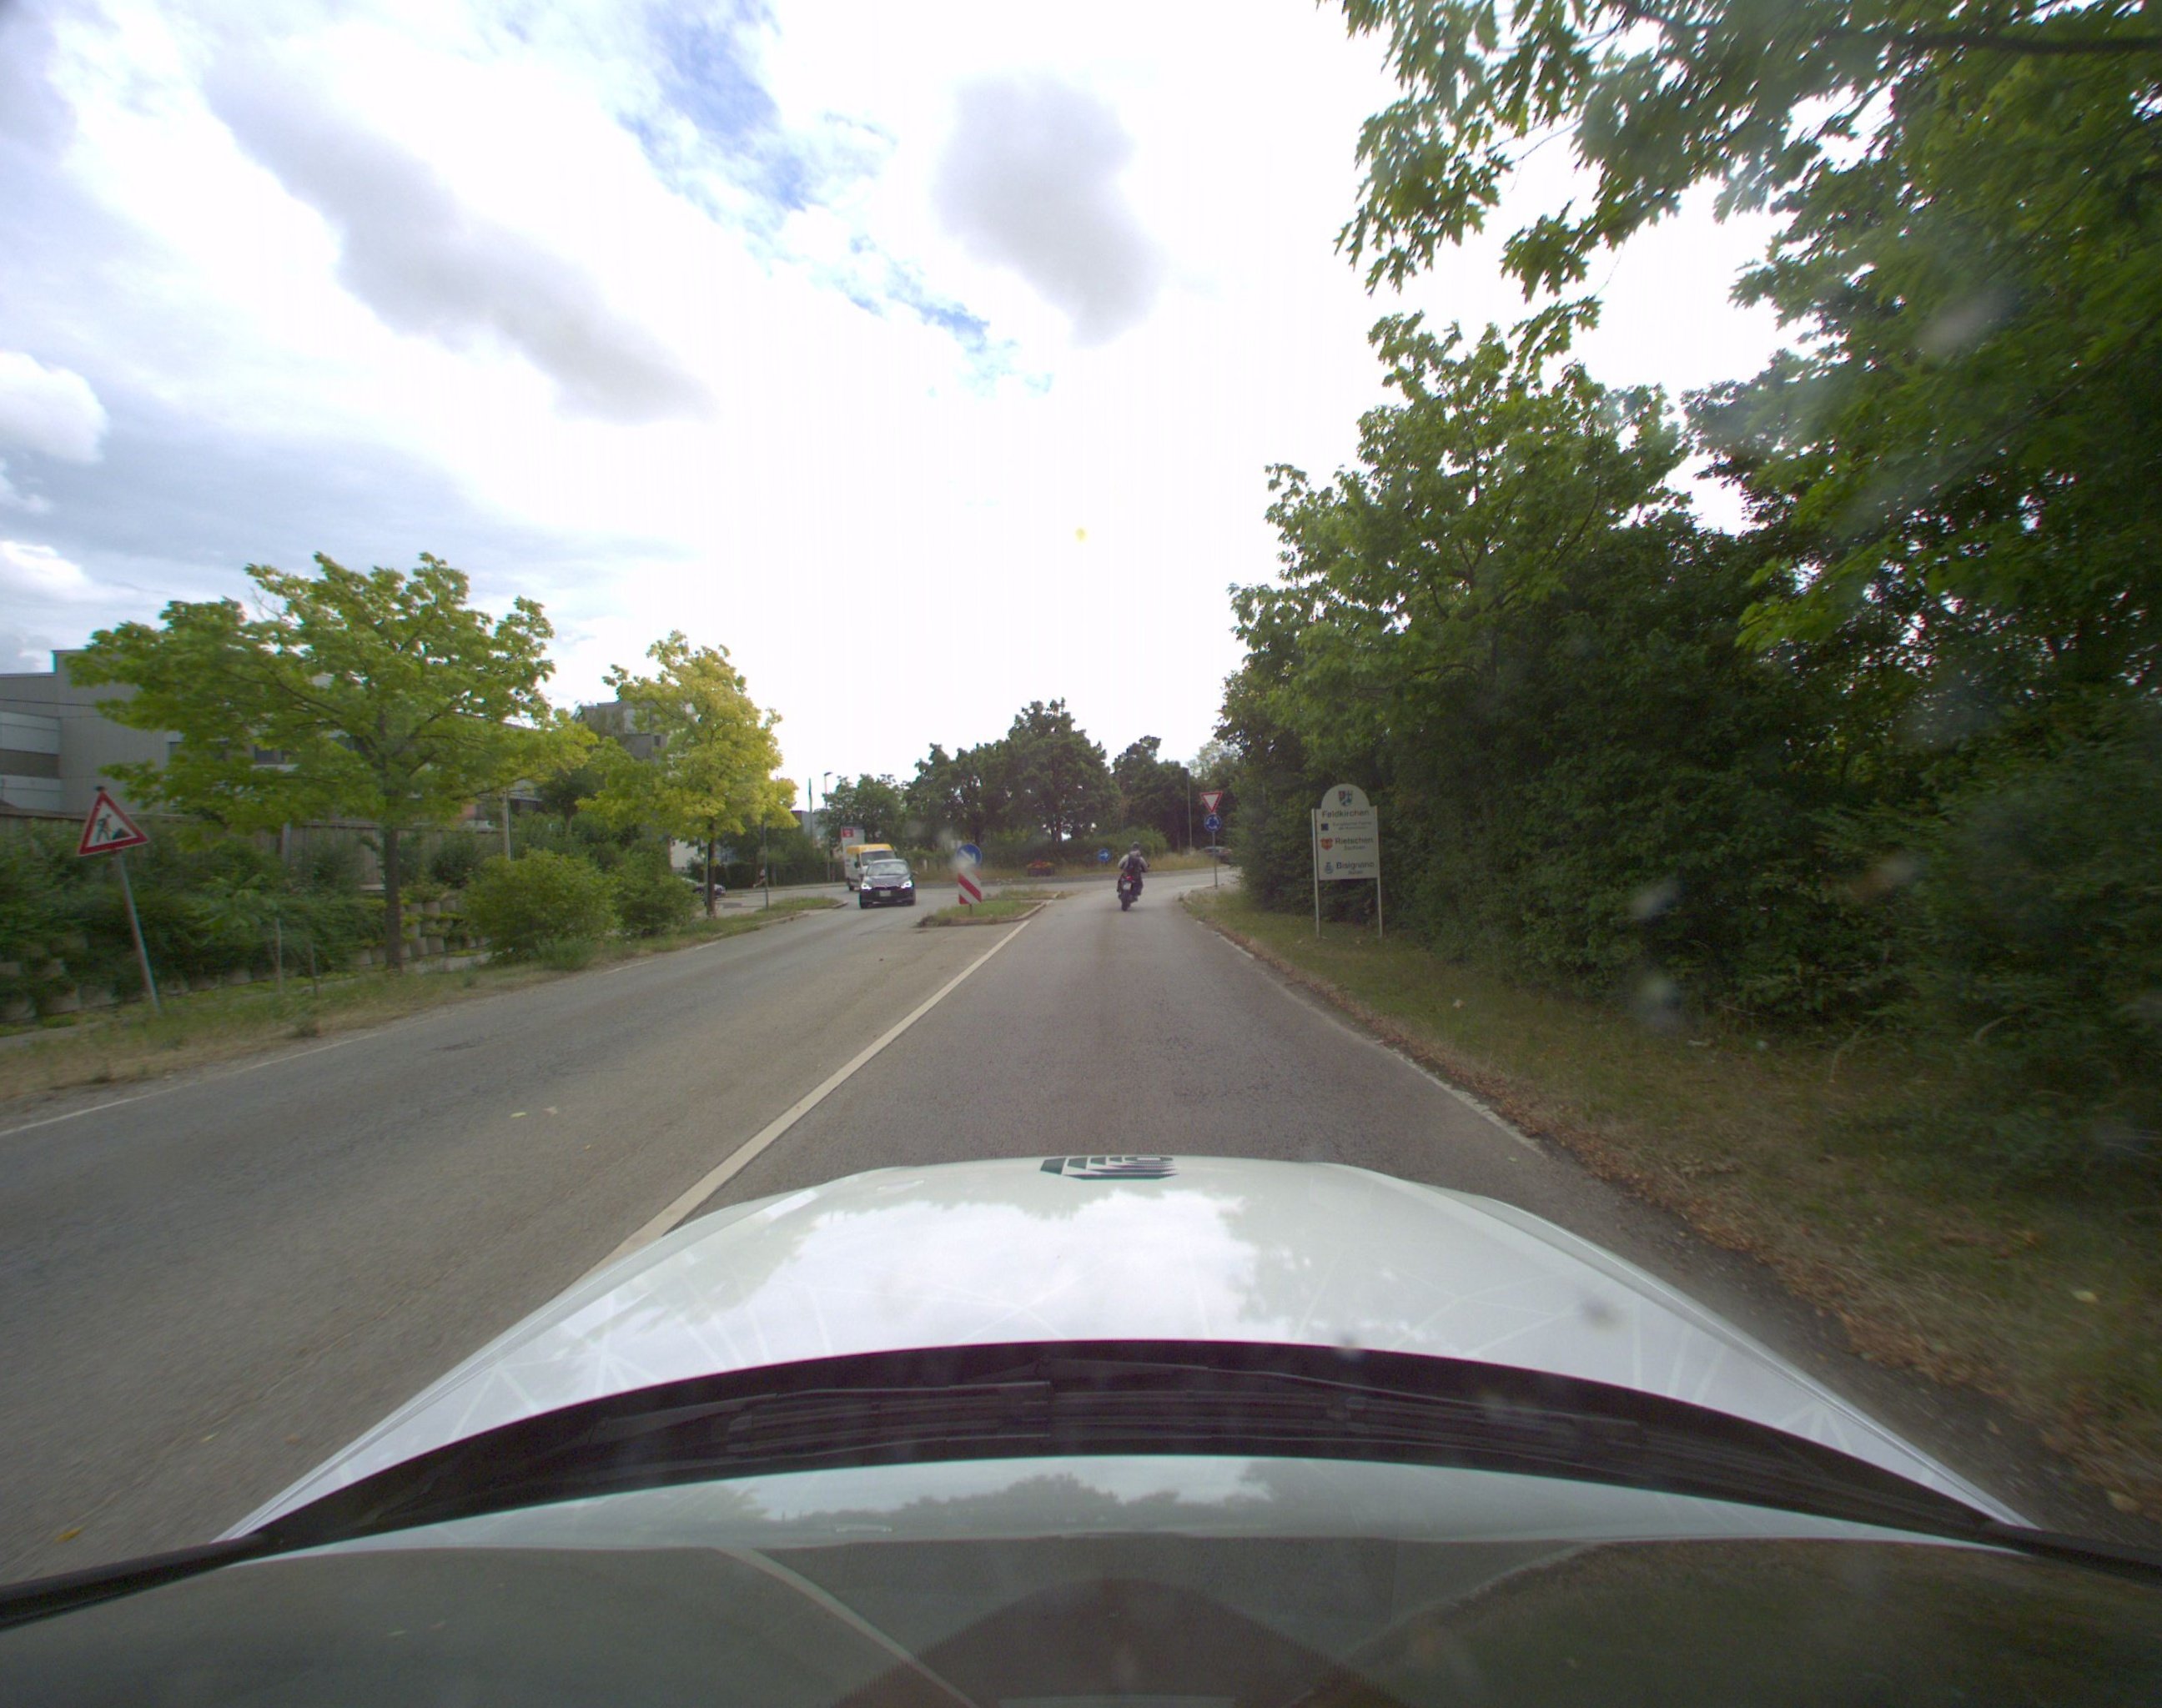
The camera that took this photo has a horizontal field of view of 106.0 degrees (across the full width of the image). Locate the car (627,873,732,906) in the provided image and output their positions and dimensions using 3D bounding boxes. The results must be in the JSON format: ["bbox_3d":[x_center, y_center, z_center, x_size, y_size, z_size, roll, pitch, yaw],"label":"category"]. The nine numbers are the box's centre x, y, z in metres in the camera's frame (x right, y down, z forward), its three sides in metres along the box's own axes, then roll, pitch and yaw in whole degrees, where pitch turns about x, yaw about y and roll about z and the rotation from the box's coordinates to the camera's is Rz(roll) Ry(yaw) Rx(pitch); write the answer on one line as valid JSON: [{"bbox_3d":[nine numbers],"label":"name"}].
[{"bbox_3d":[-20.857,1.827,42.426,4.441,1.347,1.936,-3,0,0],"label":"car"}]

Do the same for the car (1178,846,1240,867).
[{"bbox_3d":[9.368,0.192,59.486,3.948,1.255,2.013,-3,0,33],"label":"car"}]

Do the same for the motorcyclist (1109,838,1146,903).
[{"bbox_3d":[1.246,0.420,21.467,0.857,1.623,1.192,-2,0,6],"label":"motorcyclist"}]

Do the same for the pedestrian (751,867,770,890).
[{"bbox_3d":[-21.697,1.658,55.055,0.954,1.468,0.625,-3,0,-45],"label":"pedestrian"}]

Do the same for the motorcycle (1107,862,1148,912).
[{"bbox_3d":[1.254,0.836,21.417,0.892,1.158,2.624,-2,0,6],"label":"motorcycle"}]

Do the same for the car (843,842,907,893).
[{"bbox_3d":[-11.133,0.696,43.655,2.174,2.452,5.395,-3,0,-26],"label":"car"}]

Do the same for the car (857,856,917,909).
[{"bbox_3d":[-6.755,0.957,28.703,1.739,1.585,4.339,-4,0,-11],"label":"car"}]
